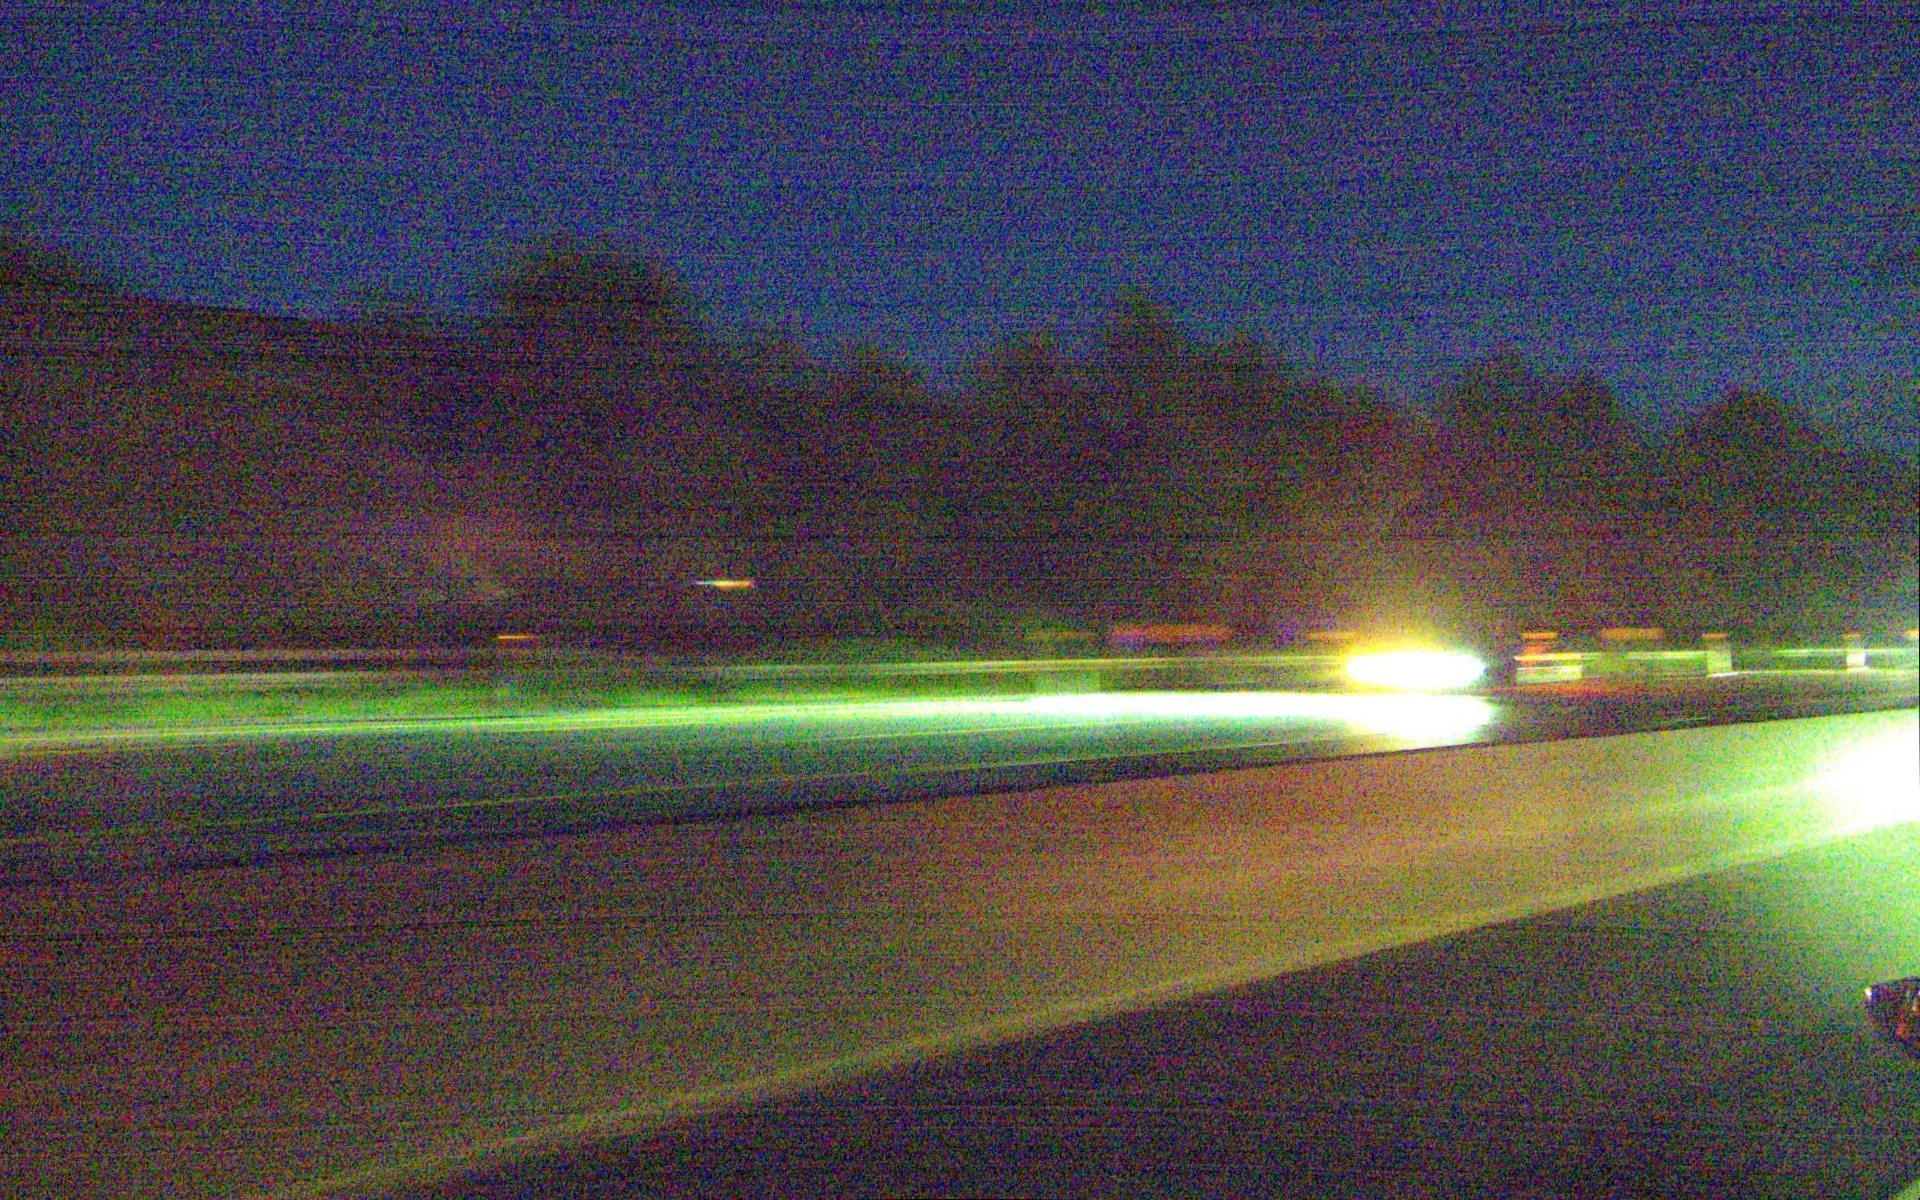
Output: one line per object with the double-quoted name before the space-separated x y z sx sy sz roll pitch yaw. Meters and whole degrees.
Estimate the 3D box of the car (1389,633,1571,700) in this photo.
"car" 12.654 1.566 24.349 4.672 1.498 1.742 2 -3 -31
